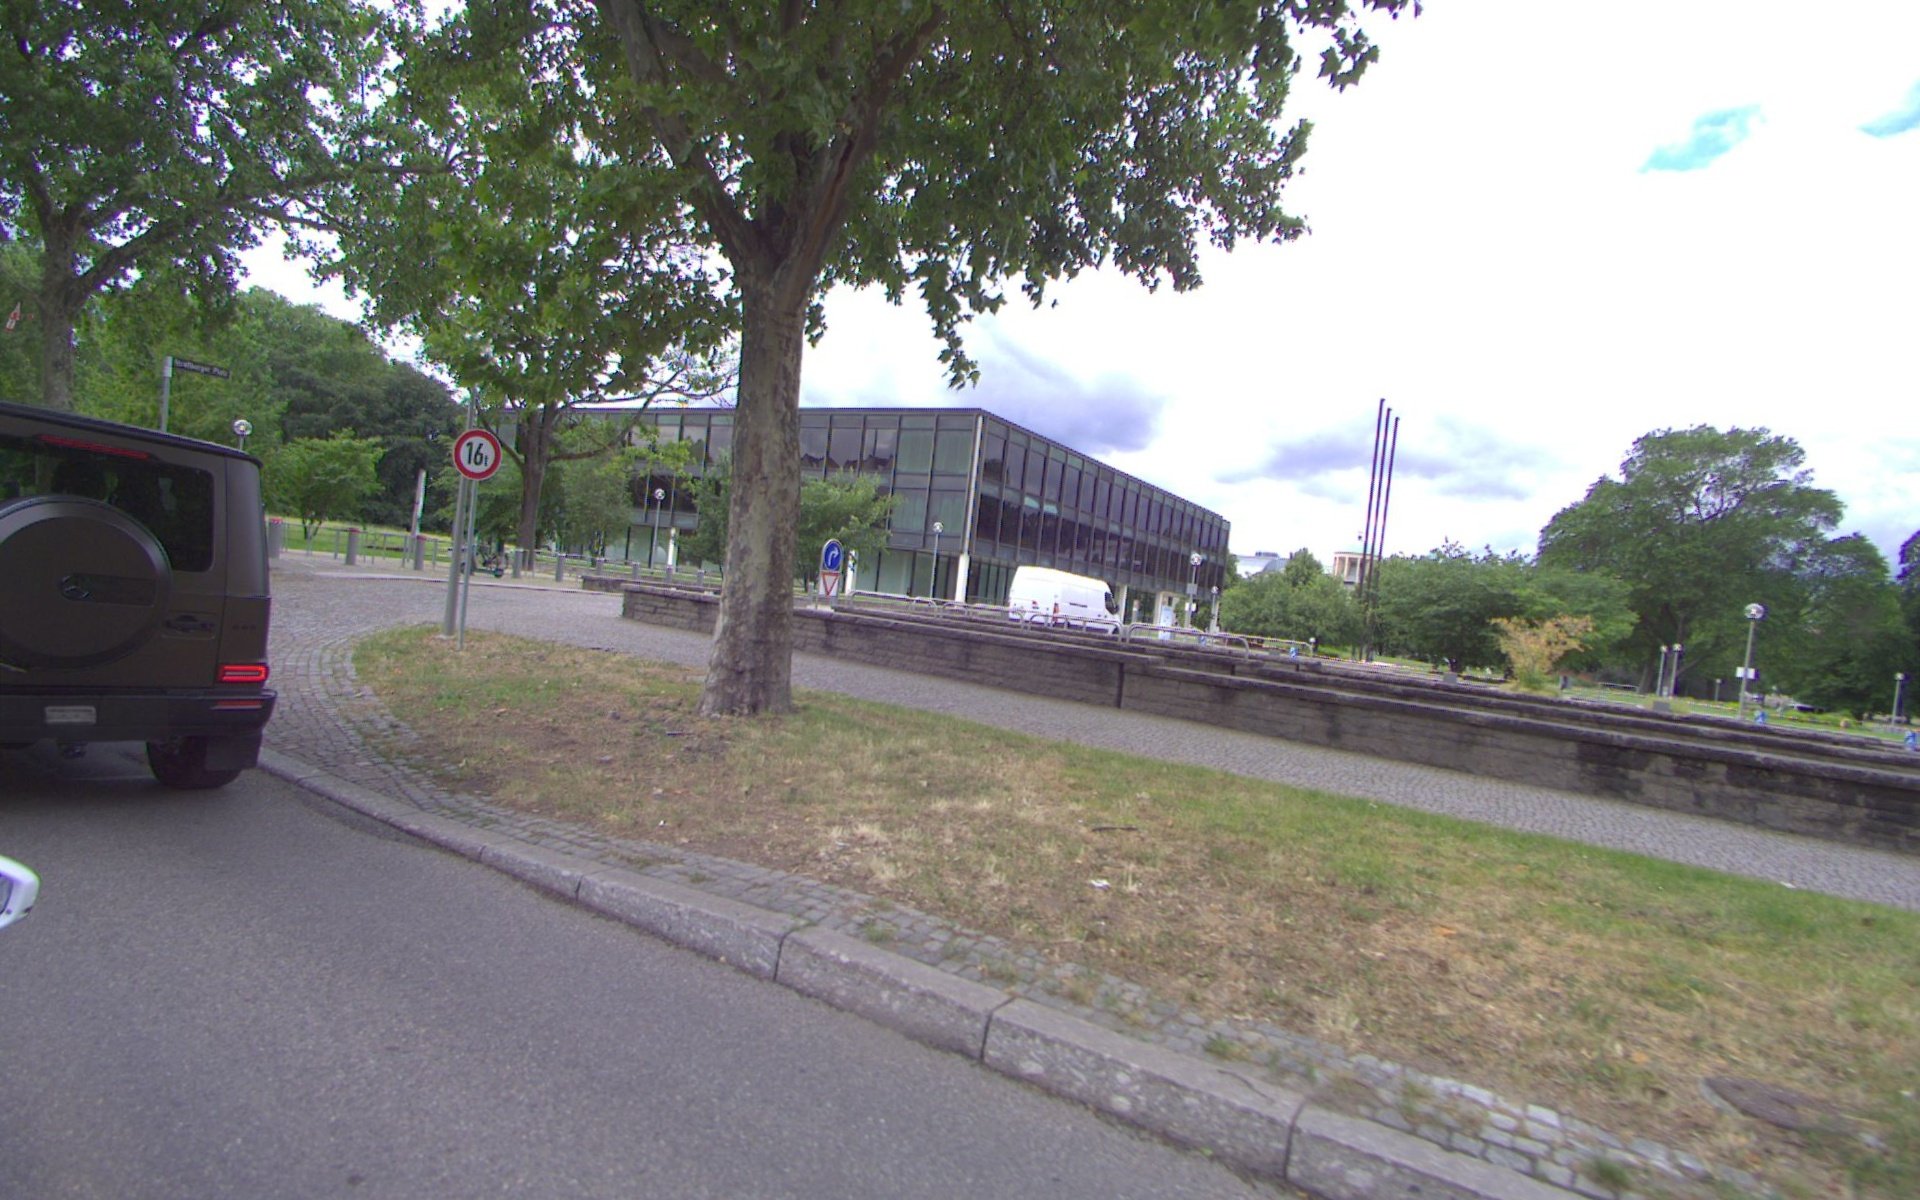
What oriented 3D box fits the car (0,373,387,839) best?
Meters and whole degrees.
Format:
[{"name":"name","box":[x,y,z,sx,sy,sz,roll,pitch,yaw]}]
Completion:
[{"name":"car","box":[-5.685,-0.110,5.774,4.628,1.915,1.982,6,-2,31]}]

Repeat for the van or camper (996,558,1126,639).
[{"name":"van or camper","box":[3.814,0.024,36.895,2.283,2.347,5.704,5,-2,32]}]

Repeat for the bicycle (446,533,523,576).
[{"name":"bicycle","box":[-15.765,-1.495,33.421,0.674,1.156,2.192,7,1,33]}]

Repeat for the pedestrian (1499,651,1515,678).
[{"name":"pedestrian","box":[40.143,4.741,73.815,0.802,1.825,0.857,7,1,31]}]

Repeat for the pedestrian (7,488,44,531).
[{"name":"pedestrian","box":[-36.758,-3.555,39.553,0.672,1.544,0.788,6,-2,33]}]

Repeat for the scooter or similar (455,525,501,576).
[{"name":"scooter or similar","box":[-13.148,-1.340,27.431,0.716,1.261,0.717,6,-2,31]}]
